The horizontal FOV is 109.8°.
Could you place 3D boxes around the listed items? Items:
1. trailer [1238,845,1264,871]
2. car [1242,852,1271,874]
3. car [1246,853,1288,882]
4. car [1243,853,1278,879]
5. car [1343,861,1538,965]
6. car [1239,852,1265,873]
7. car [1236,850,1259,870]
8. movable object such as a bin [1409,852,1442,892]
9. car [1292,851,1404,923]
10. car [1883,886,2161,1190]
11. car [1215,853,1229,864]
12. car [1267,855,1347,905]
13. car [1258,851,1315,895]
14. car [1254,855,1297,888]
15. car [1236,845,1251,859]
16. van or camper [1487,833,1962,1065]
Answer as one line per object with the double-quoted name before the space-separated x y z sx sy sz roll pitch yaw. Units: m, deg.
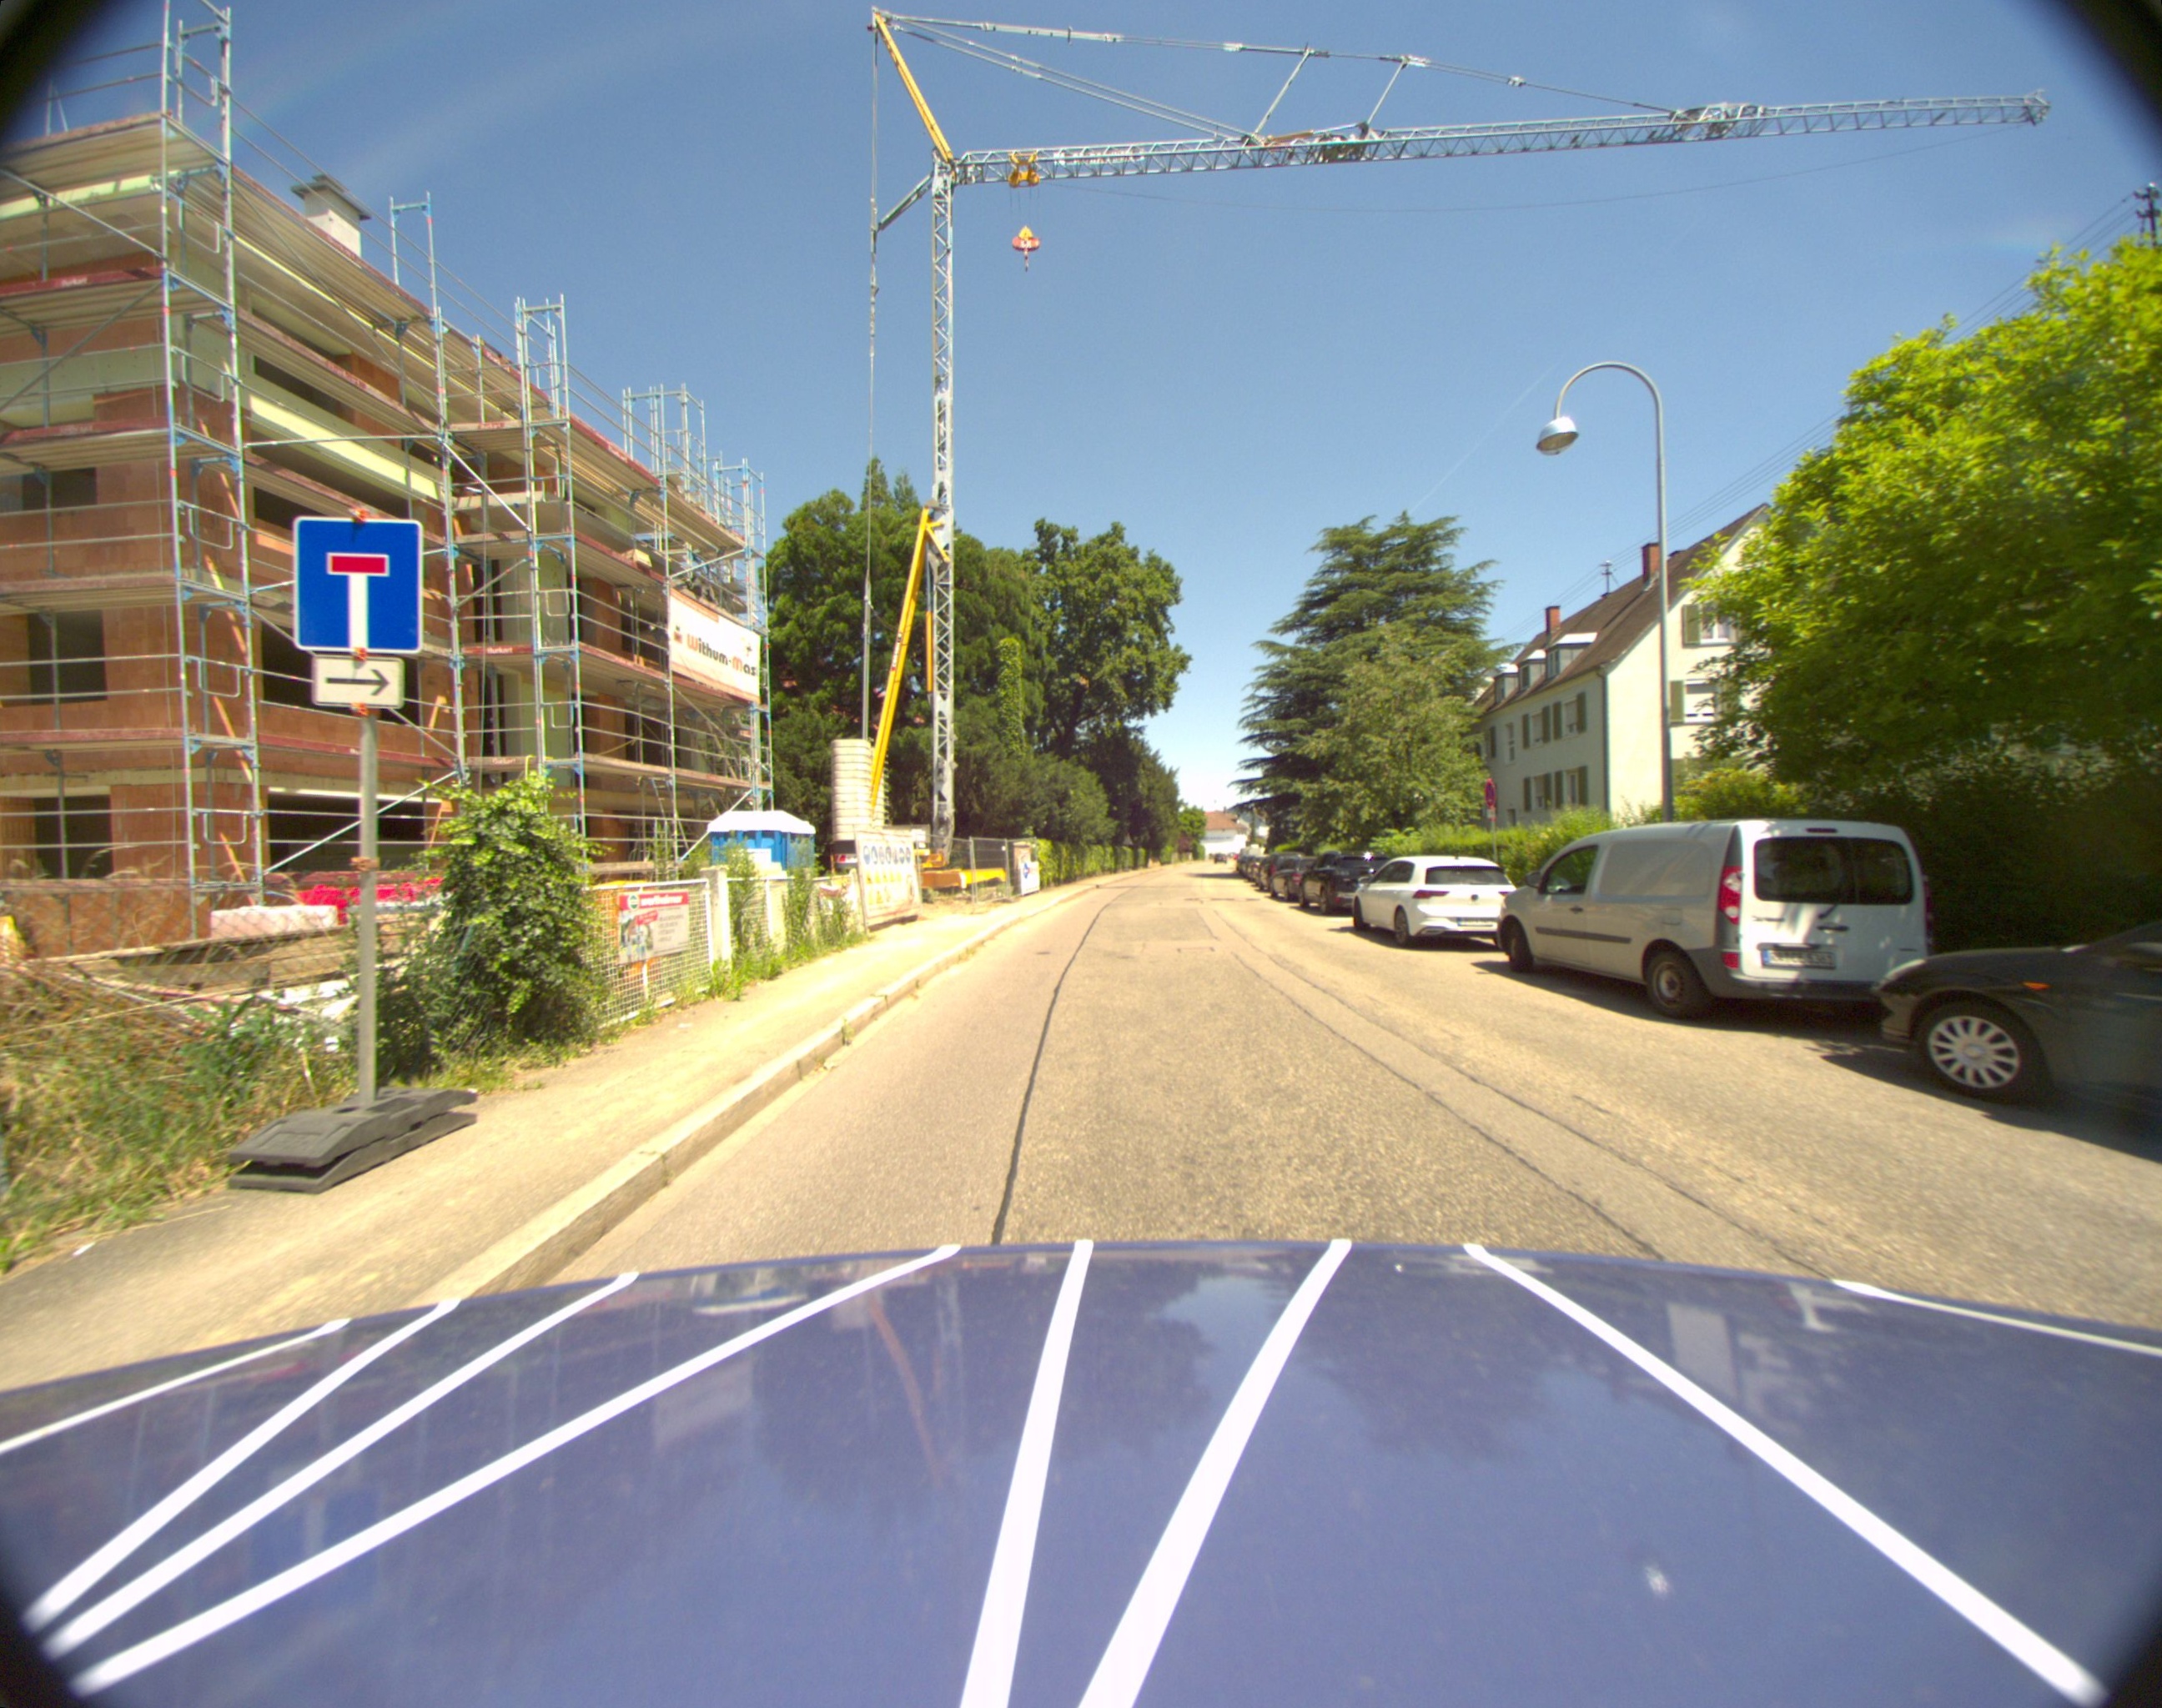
"trailer" 13.922 0.292 62.397 1.817 2.021 4.003 1 1 10
"car" 11.881 0.590 51.579 1.799 1.434 3.899 0 0 11
"car" 9.815 0.666 40.283 1.800 1.434 3.787 0 0 8
"car" 10.694 0.675 45.477 1.799 1.434 4.275 0 0 10
"car" 5.983 0.882 13.246 1.684 1.433 4.248 0 0 5
"car" 12.634 0.613 56.334 1.799 1.434 4.480 0 0 11
"car" 14.583 0.496 66.752 1.771 1.610 4.552 1 0 10
"movable object such as a bin" 11.610 0.604 25.626 0.754 1.324 0.964 -1 0 5
"car" 6.739 0.752 19.628 1.684 1.627 4.332 0 0 5
"car" 6.034 0.923 2.970 1.685 1.404 3.926 0 0 1
"car" 20.952 0.618 112.952 1.902 1.565 4.144 -1 0 10
"car" 7.347 0.800 25.075 1.684 1.467 4.332 0 0 5
"car" 8.118 0.696 30.309 1.684 1.630 3.792 0 0 7
"car" 9.007 0.770 35.446 1.684 1.393 3.793 0 0 10
"car" 21.473 -0.265 100.250 1.891 1.749 3.615 1 1 13
"van or camper" 6.049 0.722 7.896 1.685 1.793 3.986 0 0 3
